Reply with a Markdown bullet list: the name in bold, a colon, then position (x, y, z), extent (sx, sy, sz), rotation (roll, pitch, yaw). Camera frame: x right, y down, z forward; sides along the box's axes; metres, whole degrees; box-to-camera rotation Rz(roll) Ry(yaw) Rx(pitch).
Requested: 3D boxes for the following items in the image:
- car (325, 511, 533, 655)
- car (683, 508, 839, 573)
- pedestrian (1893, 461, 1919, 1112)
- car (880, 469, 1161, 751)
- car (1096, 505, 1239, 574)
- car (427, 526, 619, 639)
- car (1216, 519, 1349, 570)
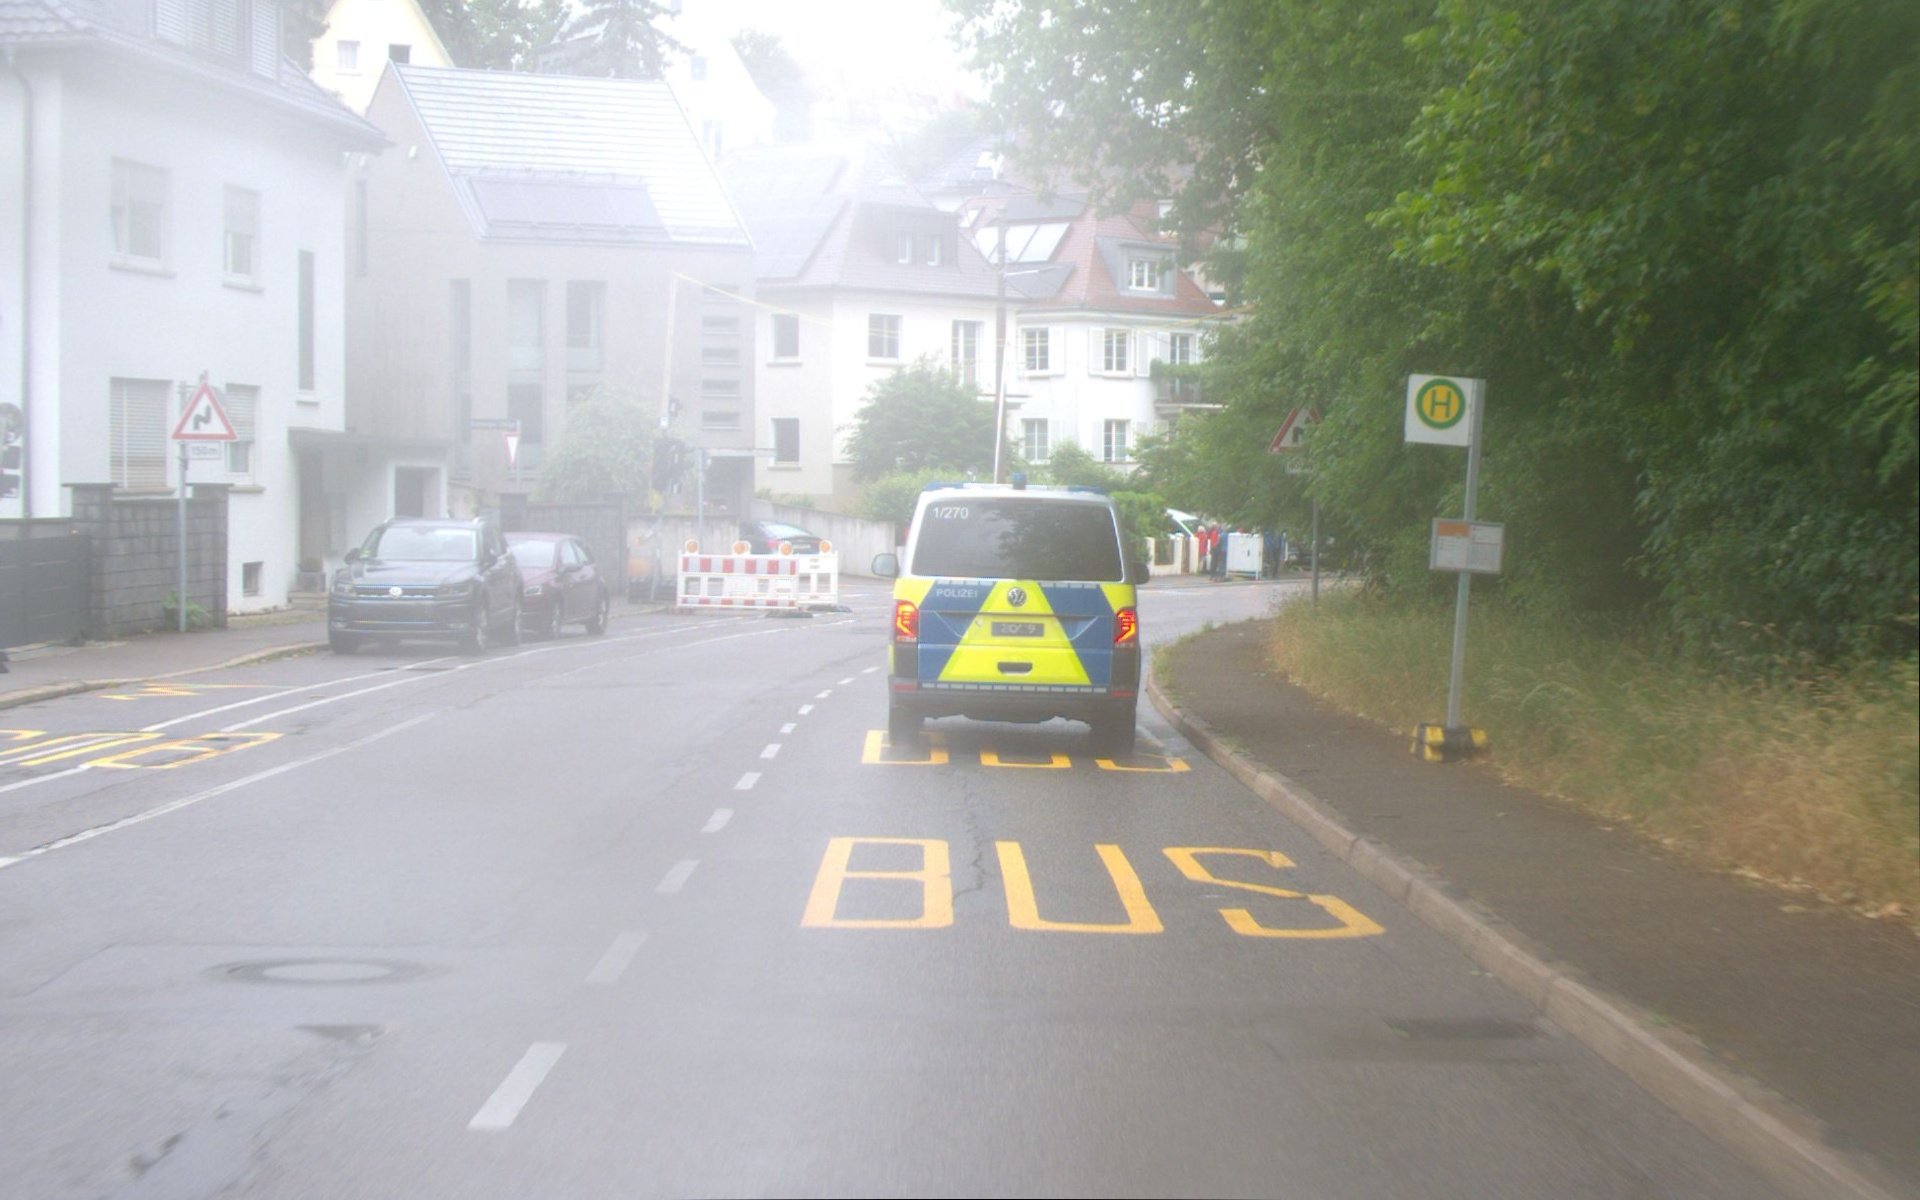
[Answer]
- **car**: position (-6.512, -0.259, 42.562), extent (1.754, 1.653, 4.405), rotation (-1, 2, 2)
- **car**: position (-4.875, -1.454, 83.948), extent (1.834, 1.438, 3.999), rotation (0, 3, -38)
- **pedestrian**: position (2.694, 0.461, 8.362), extent (0.642, 1.605, 0.670), rotation (1, 0, -1)
- **car**: position (0.509, 0.030, 26.758), extent (1.993, 2.007, 4.401), rotation (0, 1, 2)
- **car**: position (6.453, -1.880, 107.041), extent (3.994, 2.007, 1.827), rotation (3, 2, 31)
- **car**: position (-6.058, -0.278, 48.066), extent (1.617, 1.435, 4.229), rotation (1, 2, 8)
- **car**: position (10.838, -1.872, 115.660), extent (3.994, 1.481, 1.757), rotation (3, 0, 30)
